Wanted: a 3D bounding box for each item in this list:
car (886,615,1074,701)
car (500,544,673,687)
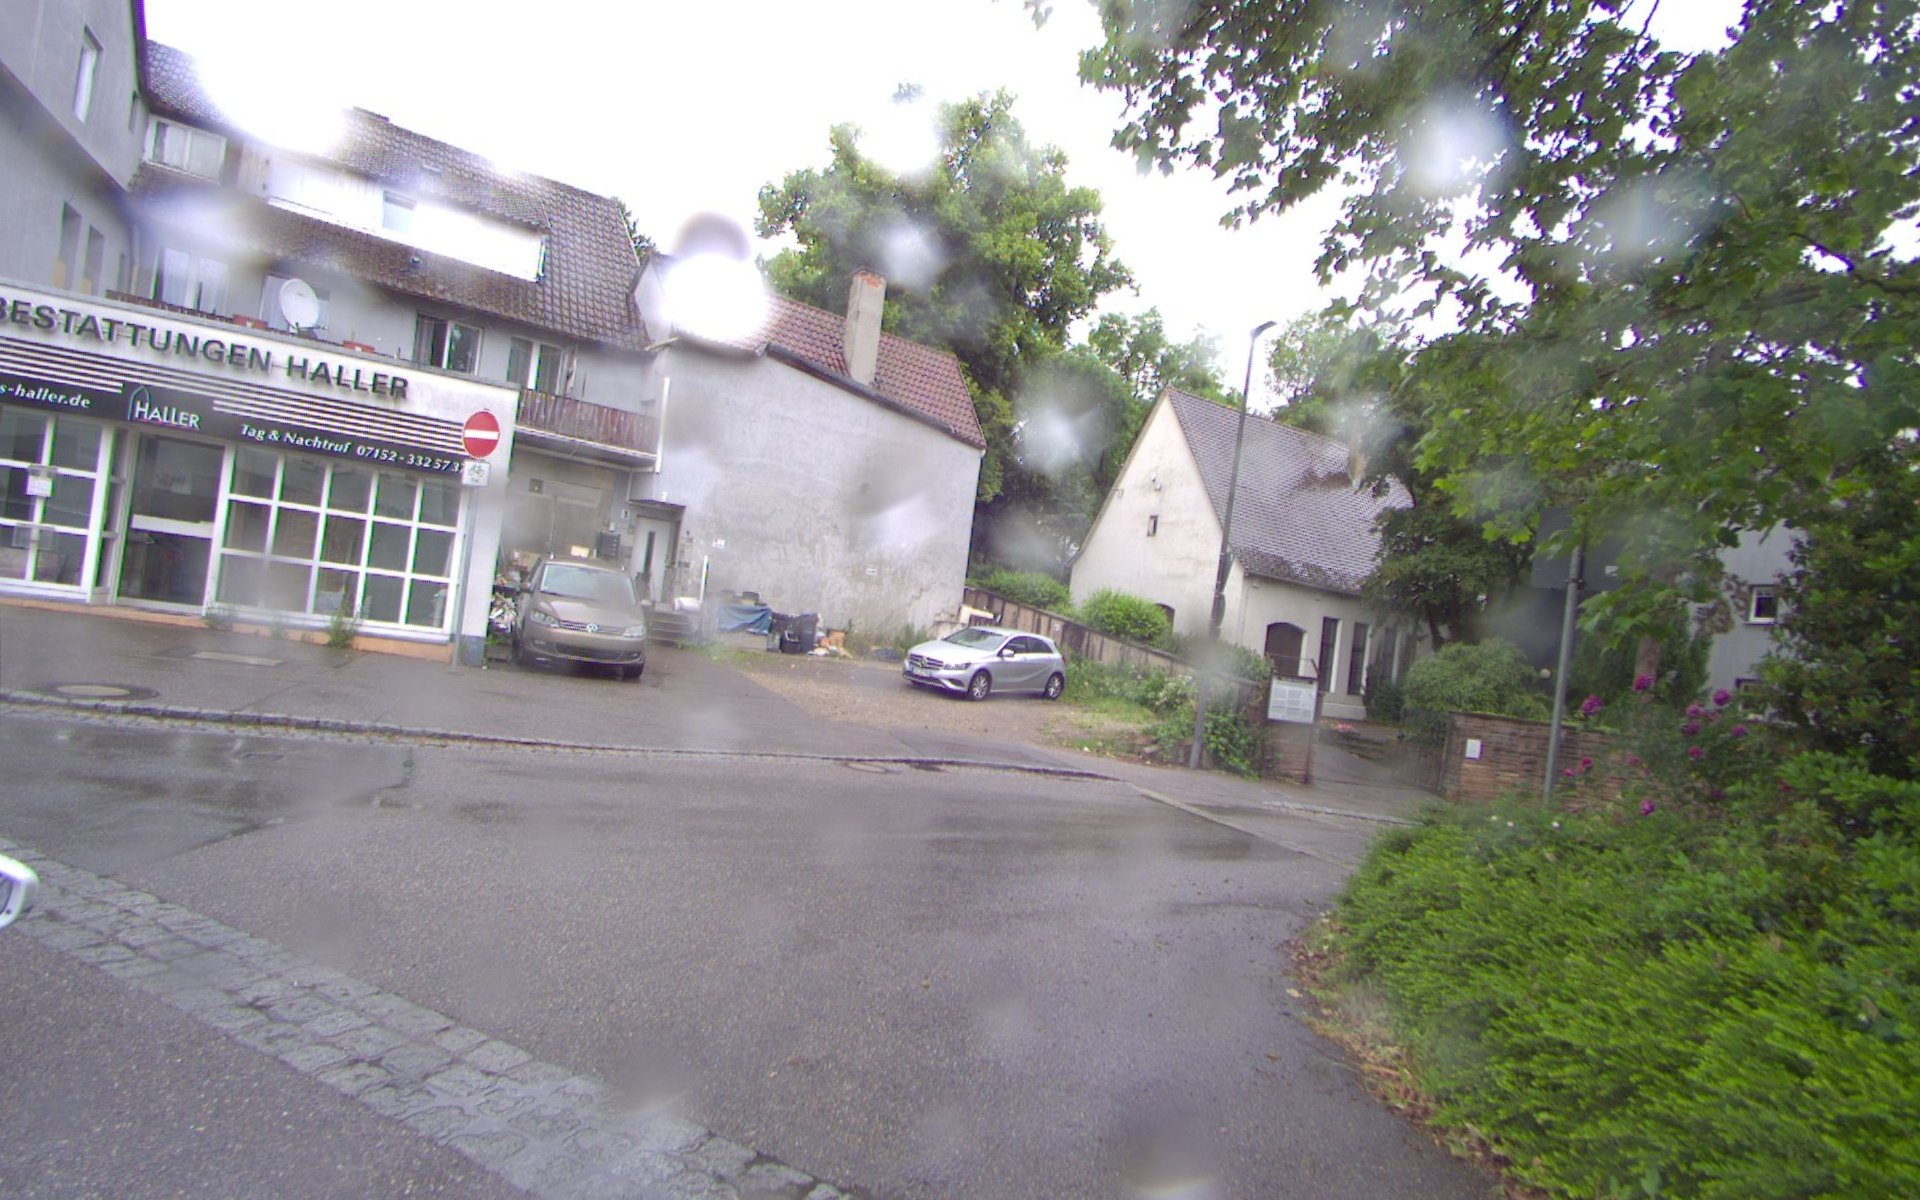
[{"bbox_3d":[0.513,1.277,21.381,1.717,1.406,4.022,10,2,40],"label":"car"},{"bbox_3d":[-6.281,0.150,16.551,1.908,1.749,4.634,8,0,-28],"label":"car"}]
